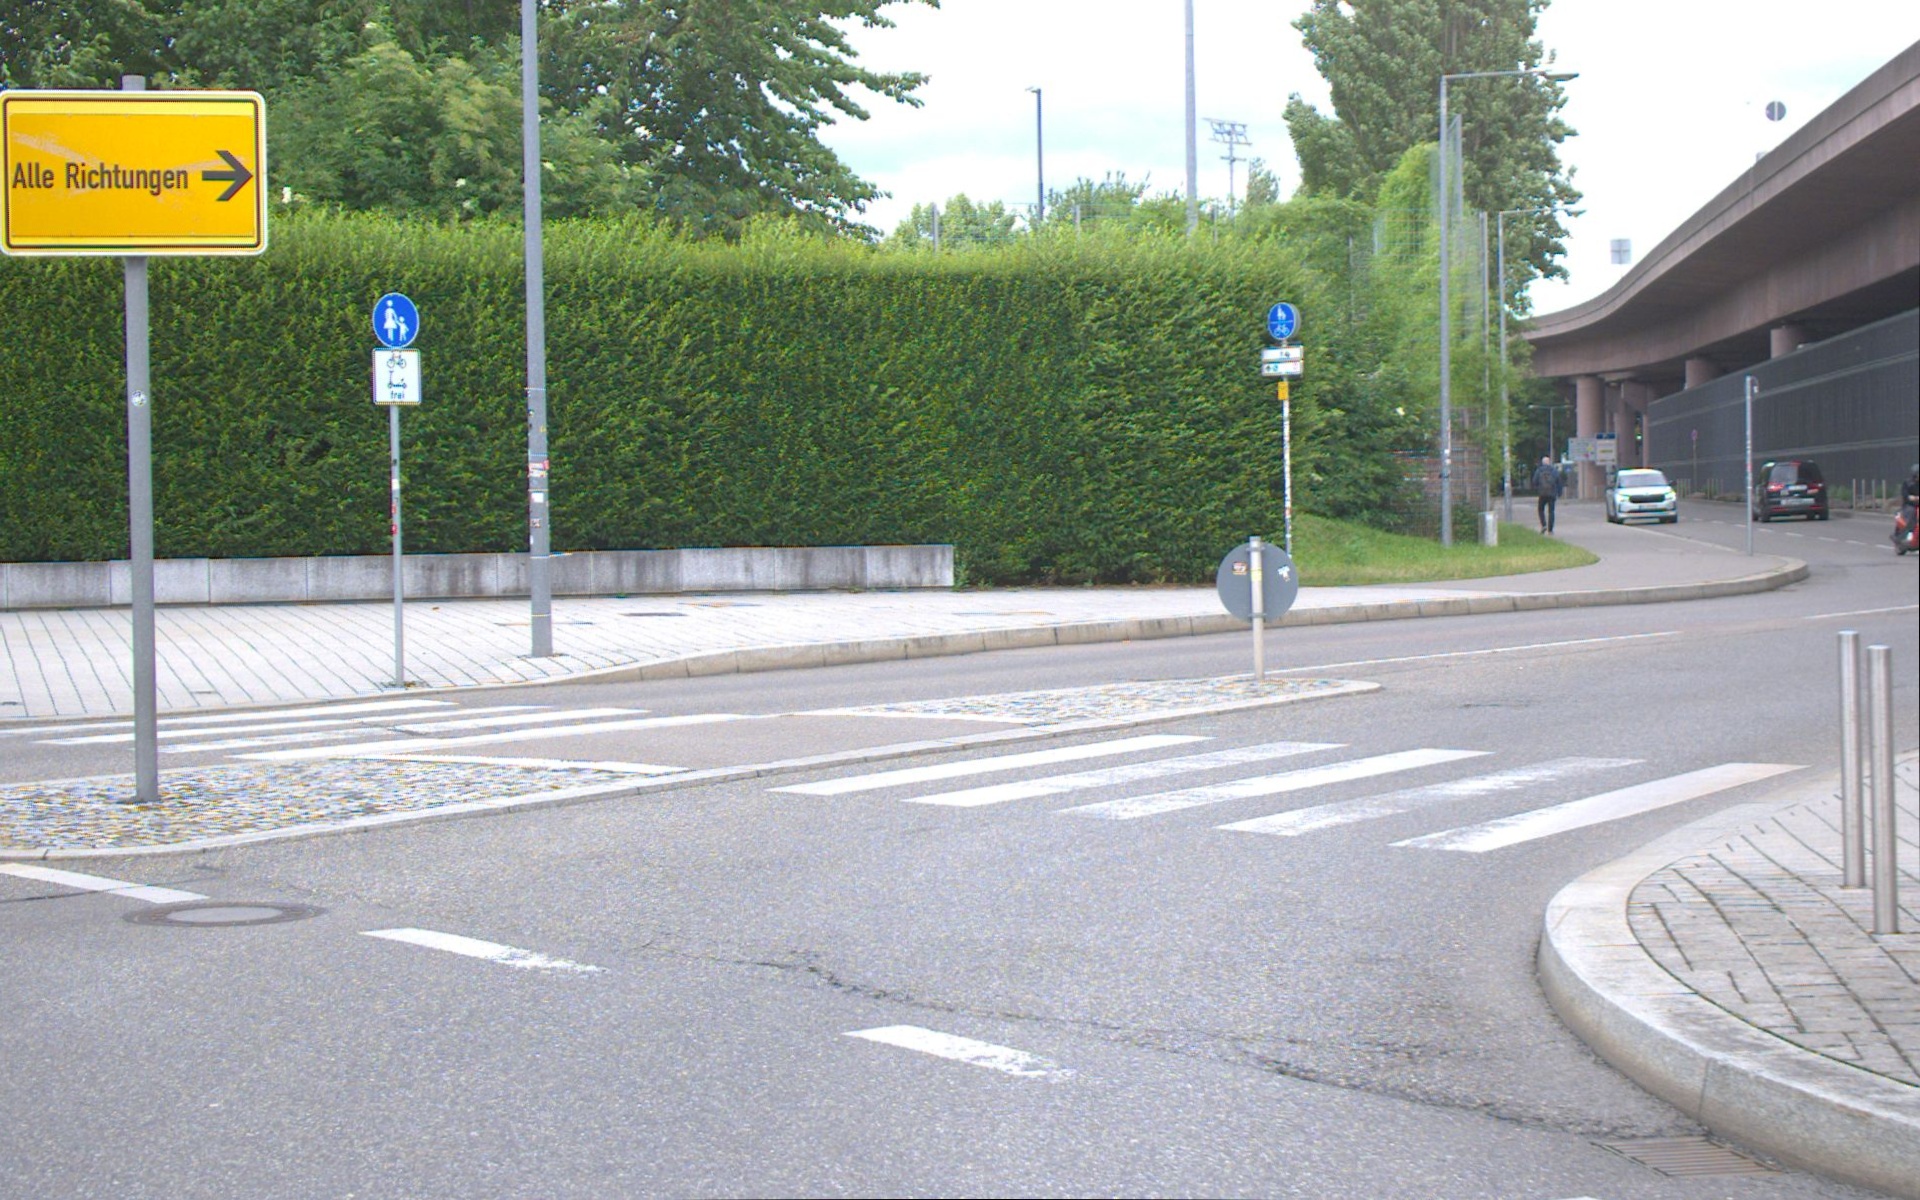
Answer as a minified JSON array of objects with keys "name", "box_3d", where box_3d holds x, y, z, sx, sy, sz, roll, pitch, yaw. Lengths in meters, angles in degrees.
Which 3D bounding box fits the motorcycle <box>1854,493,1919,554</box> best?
[{"name":"motorcycle","box_3d":[16.807,-1.382,61.601,0.746,1.019,1.957,-2,3,-11]}]

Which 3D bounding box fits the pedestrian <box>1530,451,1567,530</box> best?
[{"name":"pedestrian","box_3d":[13.615,-2.535,79.542,0.804,1.774,0.920,-1,3,10]}]

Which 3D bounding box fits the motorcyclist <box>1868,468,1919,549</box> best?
[{"name":"motorcyclist","box_3d":[16.813,-1.641,61.530,0.761,1.414,0.870,-2,3,-11]}]

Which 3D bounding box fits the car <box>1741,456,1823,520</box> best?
[{"name":"car","box_3d":[23.285,-3.192,97.454,1.840,1.705,3.705,-1,3,7]}]

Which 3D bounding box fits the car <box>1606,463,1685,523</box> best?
[{"name":"car","box_3d":[20.823,-3.276,104.592,1.864,1.677,4.405,-1,3,5]}]
